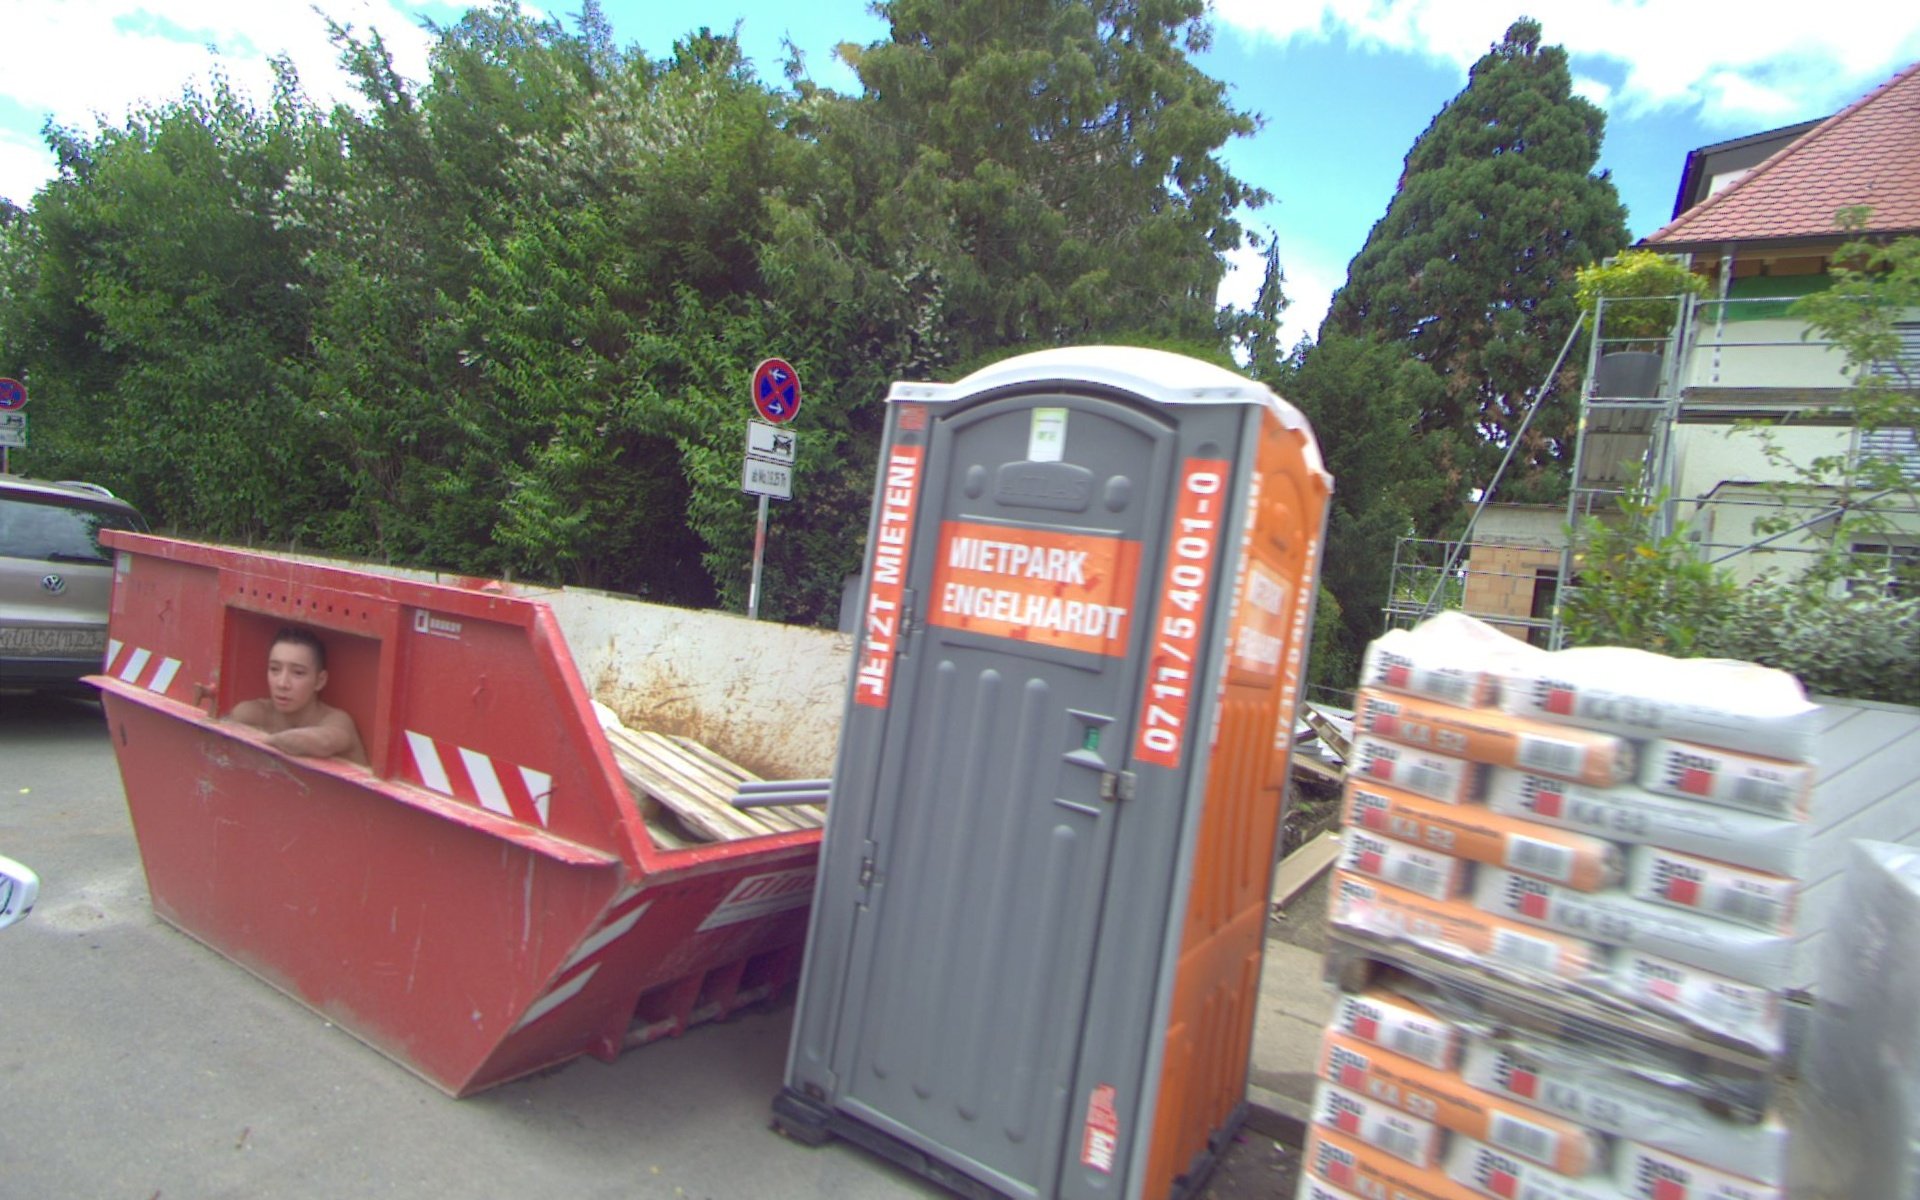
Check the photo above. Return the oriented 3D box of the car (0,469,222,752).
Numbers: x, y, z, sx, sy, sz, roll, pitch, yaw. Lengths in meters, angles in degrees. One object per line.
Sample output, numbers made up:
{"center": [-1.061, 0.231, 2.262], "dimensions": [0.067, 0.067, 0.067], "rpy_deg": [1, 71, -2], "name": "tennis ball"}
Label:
{"center": [-7.375, -0.115, 7.255], "dimensions": [4.115, 1.695, 1.747], "rpy_deg": [7, 0, 31], "name": "car"}
